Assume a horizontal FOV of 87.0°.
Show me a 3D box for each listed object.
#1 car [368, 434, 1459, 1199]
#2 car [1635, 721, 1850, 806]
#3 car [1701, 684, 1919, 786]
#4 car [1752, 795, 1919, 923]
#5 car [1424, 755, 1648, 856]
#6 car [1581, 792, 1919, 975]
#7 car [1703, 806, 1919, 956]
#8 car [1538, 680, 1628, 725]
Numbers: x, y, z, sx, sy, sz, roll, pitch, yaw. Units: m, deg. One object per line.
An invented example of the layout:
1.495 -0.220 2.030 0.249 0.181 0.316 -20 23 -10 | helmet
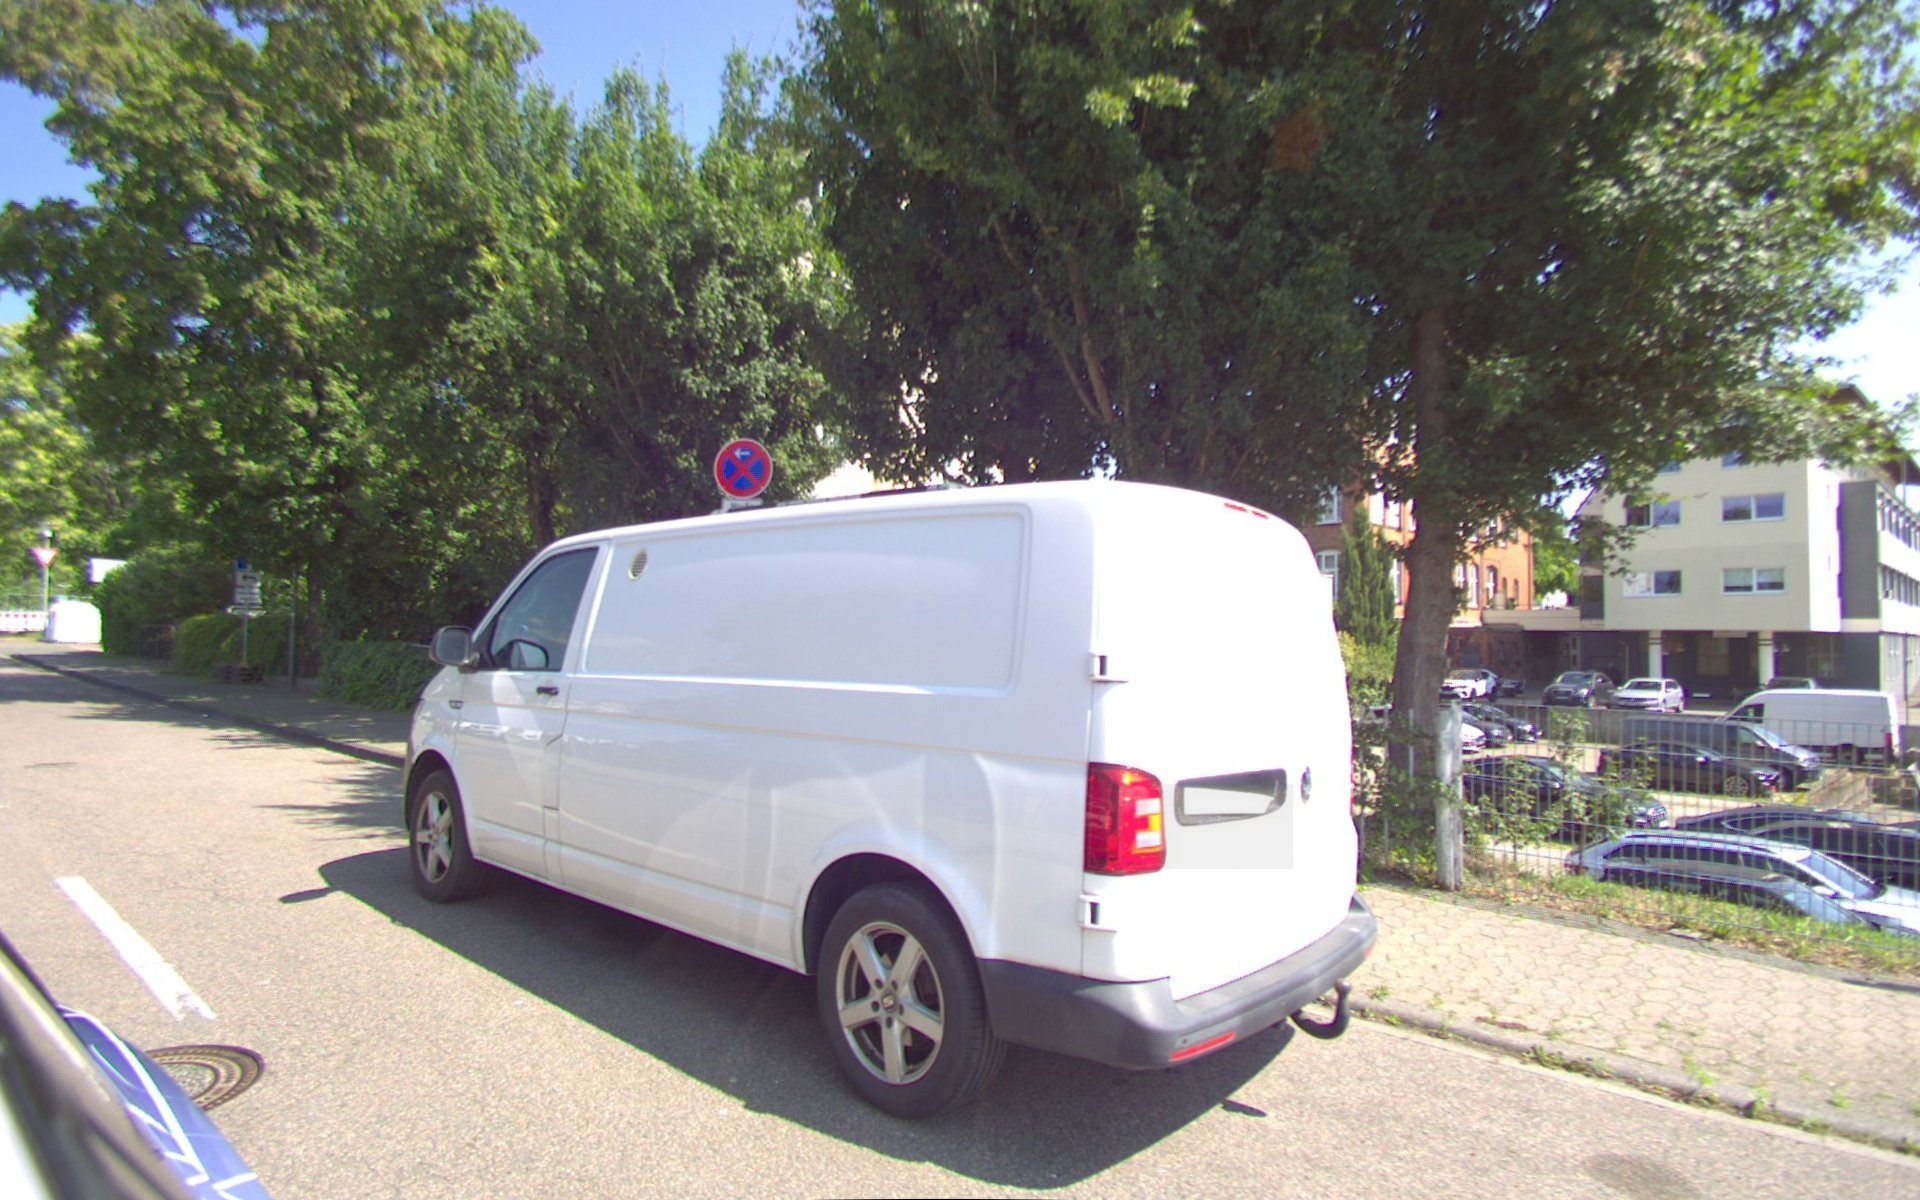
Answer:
-0.690 0.683 4.686 5.054 2.029 1.951 0 -3 41 | car
23.992 4.938 31.203 1.969 2.037 4.933 5 -5 -41 | car
30.236 4.661 35.893 2.405 2.898 5.943 5 -3 -40 | car
15.181 4.173 15.928 1.780 1.453 4.007 2 -2 -40 | car
12.988 4.554 22.962 1.970 1.696 4.004 8 -7 -42 | car
10.894 3.680 13.595 1.780 1.453 4.007 2 -2 -40 | car
13.371 4.097 14.577 1.780 1.453 4.007 2 -2 -40 | car
27.789 4.516 45.108 4.529 1.690 2.120 2 -2 -40 | car
